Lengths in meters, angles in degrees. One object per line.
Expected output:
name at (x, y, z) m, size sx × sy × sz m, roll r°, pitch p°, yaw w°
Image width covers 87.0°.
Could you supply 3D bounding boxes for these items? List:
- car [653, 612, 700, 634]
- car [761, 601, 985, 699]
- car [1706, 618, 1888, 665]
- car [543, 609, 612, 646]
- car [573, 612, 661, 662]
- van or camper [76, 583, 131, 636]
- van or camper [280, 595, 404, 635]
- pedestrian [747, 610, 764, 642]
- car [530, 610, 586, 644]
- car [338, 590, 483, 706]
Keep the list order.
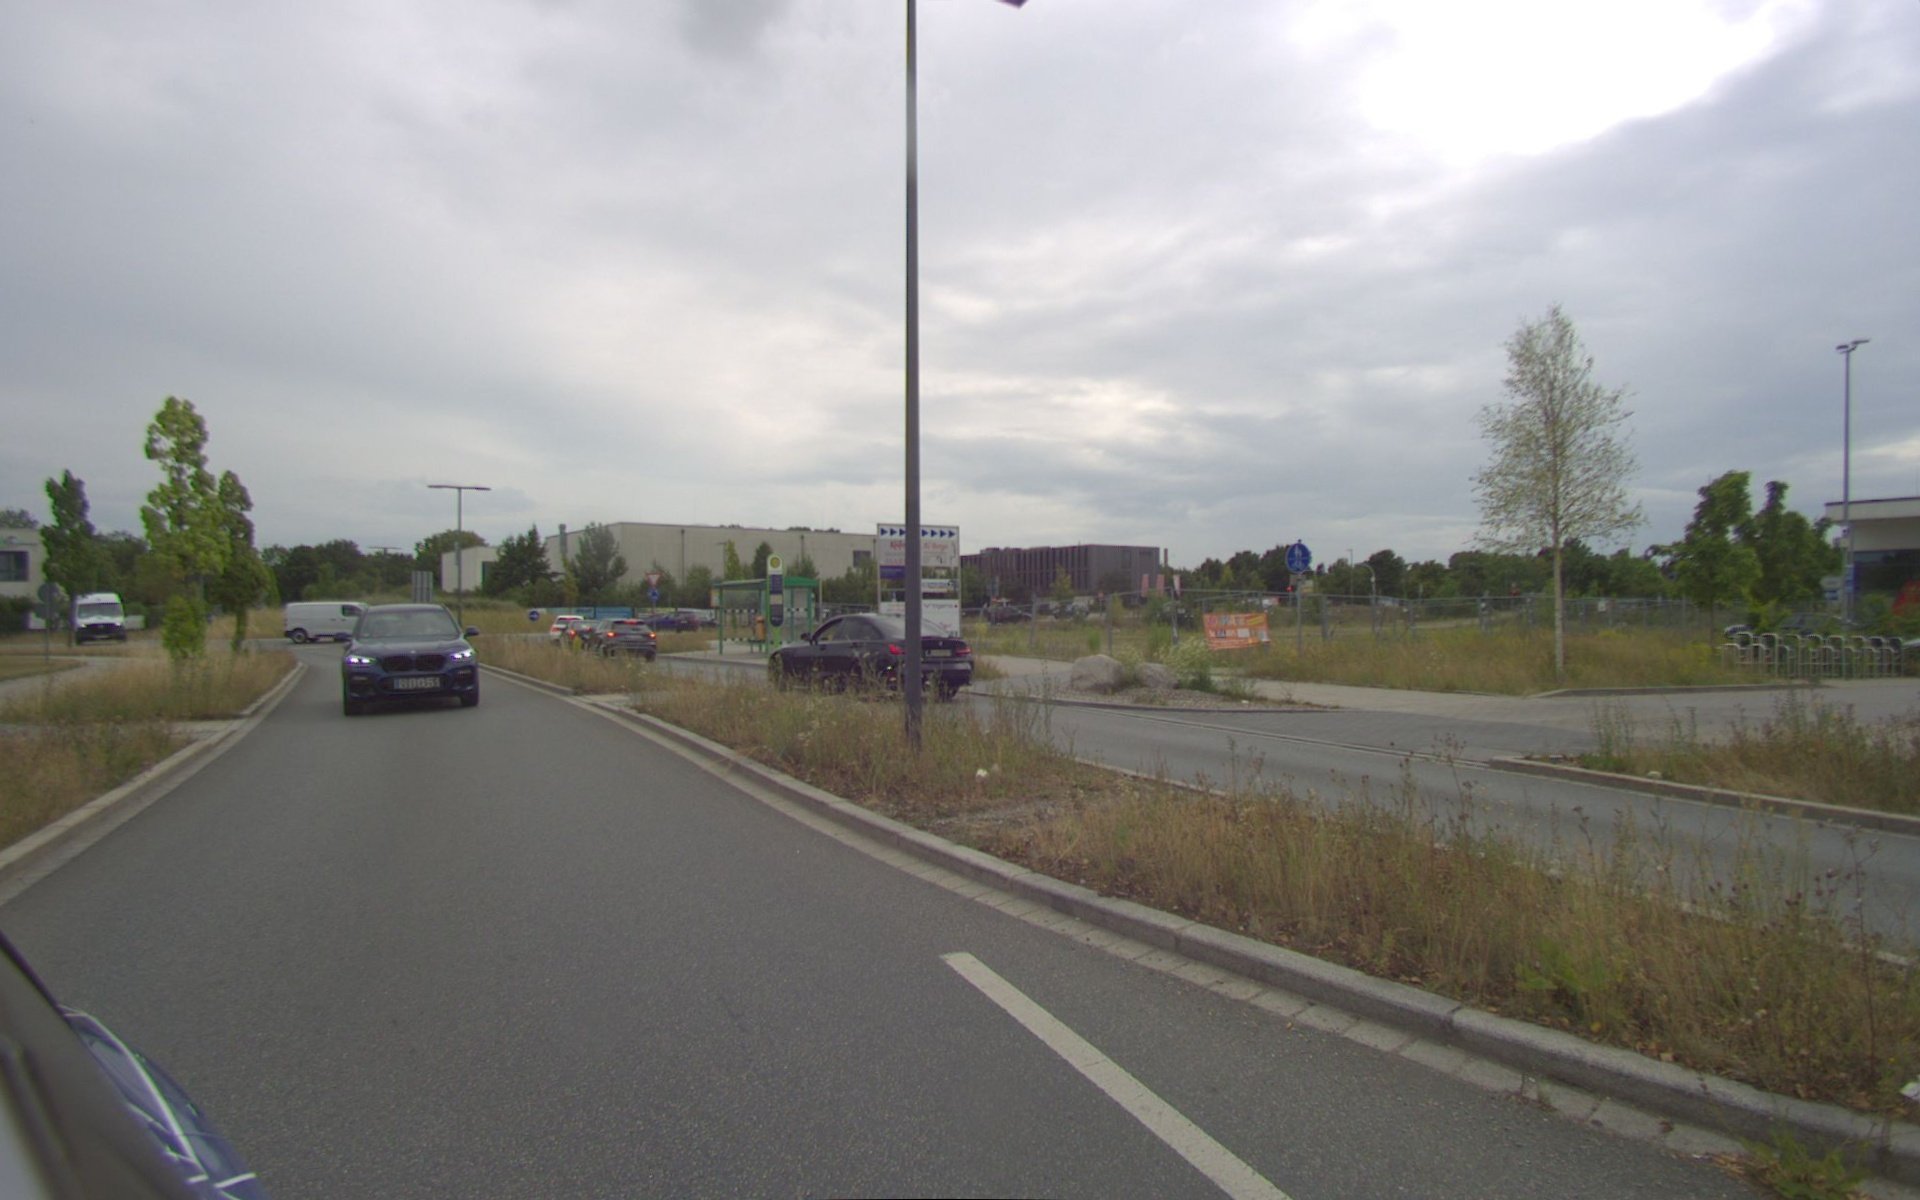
car at (-18.198, 1.477, 65.047) m, size 1.545 × 1.364 × 3.279 m, roll 0°, pitch 0°, yaw 13°
car at (-1.674, 0.762, 17.702) m, size 1.756 × 1.456 × 4.621 m, roll -1°, pitch 0°, yaw -36°
car at (32.126, 1.556, 39.016) m, size 1.966 × 1.569 × 5.038 m, roll 1°, pitch 0°, yaw -33°
car at (-15.737, 1.092, 41.485) m, size 1.761 × 1.406 × 4.383 m, roll 2°, pitch -1°, yaw -33°
car at (-11.617, 1.190, 34.122) m, size 1.767 × 1.477 × 4.332 m, roll 0°, pitch 0°, yaw -33°
van or camper at (-44.170, 0.445, 52.279) m, size 1.968 × 2.601 × 5.477 m, roll 1°, pitch 0°, yaw -39°
van or camper at (-30.008, 0.721, 49.297) m, size 4.762 × 1.905 × 1.988 m, roll 0°, pitch -1°, yaw -11°
pedestrian at (-11.283, 1.438, 55.904) m, size 0.734 × 1.735 × 0.650 m, roll 1°, pitch 0°, yaw 4°
car at (-19.420, 1.285, 48.832) m, size 1.729 × 1.492 × 4.067 m, roll 1°, pitch 0°, yaw -33°
car at (-8.960, 0.693, 16.606) m, size 1.862 × 1.652 × 4.013 m, roll 0°, pitch 0°, yaw -28°
